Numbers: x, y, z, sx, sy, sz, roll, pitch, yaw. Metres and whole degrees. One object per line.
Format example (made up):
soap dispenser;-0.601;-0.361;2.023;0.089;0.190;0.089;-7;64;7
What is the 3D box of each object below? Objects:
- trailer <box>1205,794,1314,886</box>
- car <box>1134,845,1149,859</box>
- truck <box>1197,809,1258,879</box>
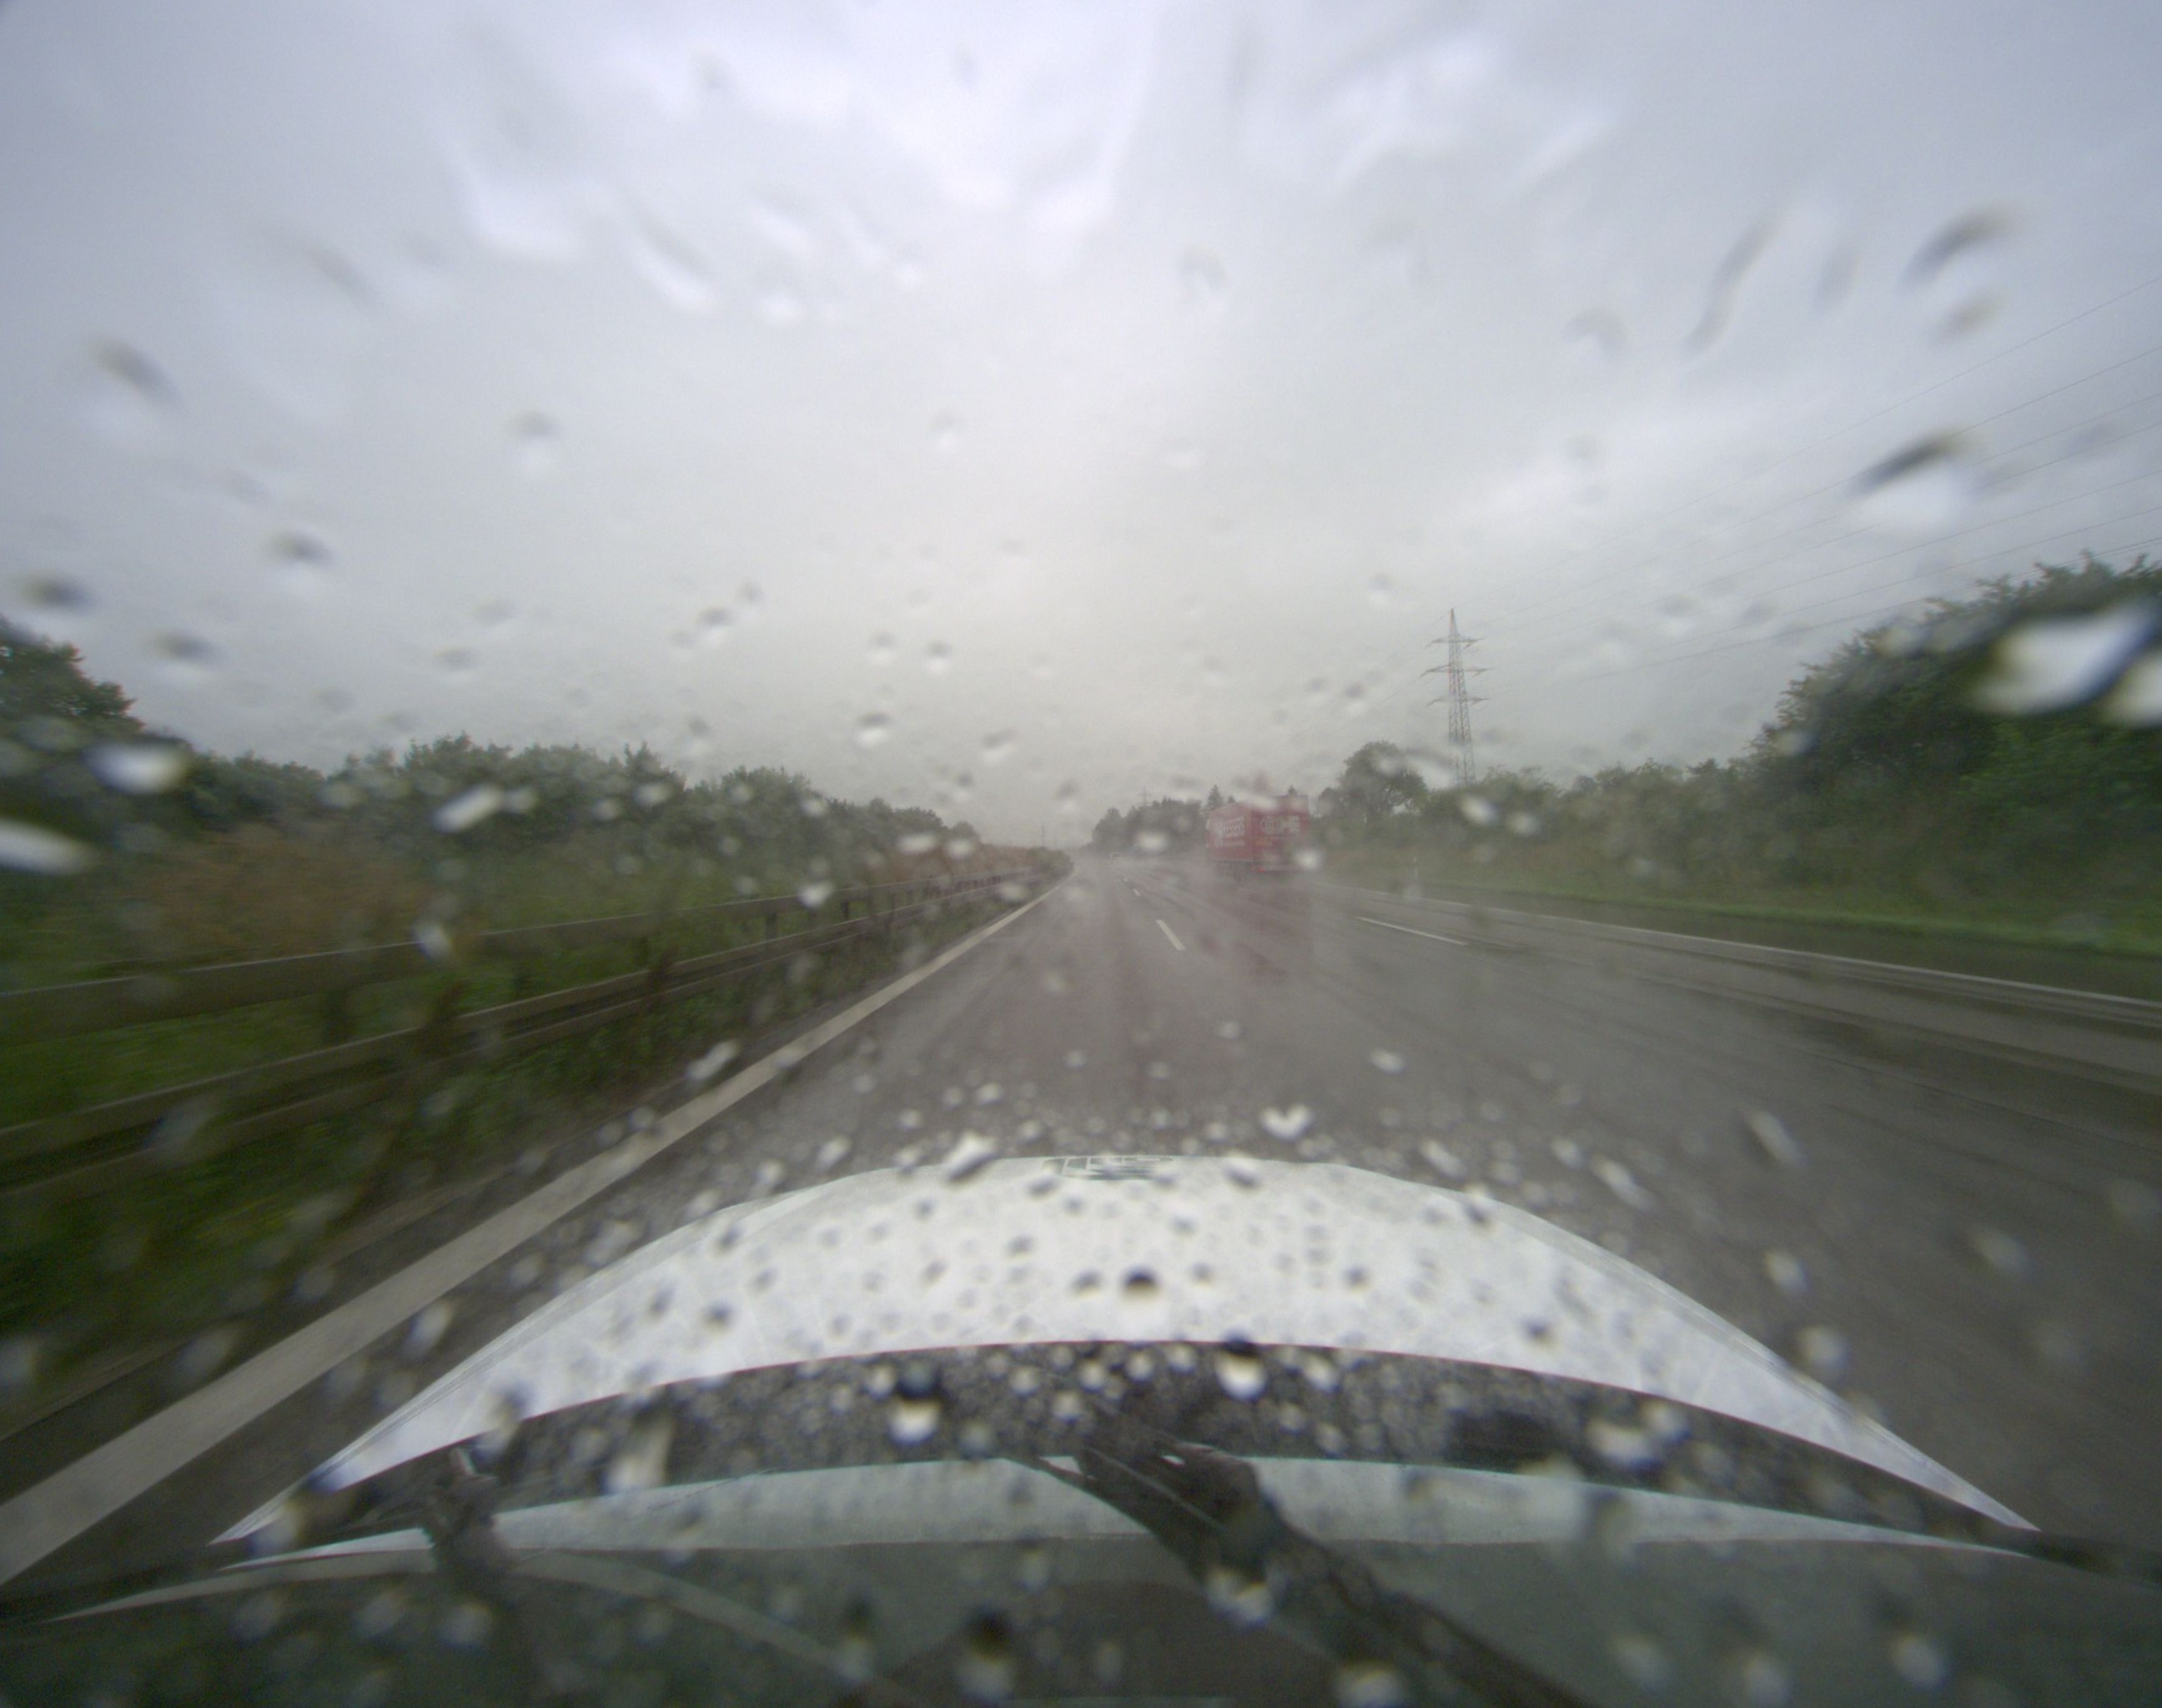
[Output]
trailer;8.957;-0.594;42.997;2.612;3.955;13.628;-4;0;0
car;9.597;-0.309;128.392;1.803;2.158;3.996;-3;0;-2
truck;9.011;-0.574;50.697;2.611;3.955;5.433;-4;0;0
